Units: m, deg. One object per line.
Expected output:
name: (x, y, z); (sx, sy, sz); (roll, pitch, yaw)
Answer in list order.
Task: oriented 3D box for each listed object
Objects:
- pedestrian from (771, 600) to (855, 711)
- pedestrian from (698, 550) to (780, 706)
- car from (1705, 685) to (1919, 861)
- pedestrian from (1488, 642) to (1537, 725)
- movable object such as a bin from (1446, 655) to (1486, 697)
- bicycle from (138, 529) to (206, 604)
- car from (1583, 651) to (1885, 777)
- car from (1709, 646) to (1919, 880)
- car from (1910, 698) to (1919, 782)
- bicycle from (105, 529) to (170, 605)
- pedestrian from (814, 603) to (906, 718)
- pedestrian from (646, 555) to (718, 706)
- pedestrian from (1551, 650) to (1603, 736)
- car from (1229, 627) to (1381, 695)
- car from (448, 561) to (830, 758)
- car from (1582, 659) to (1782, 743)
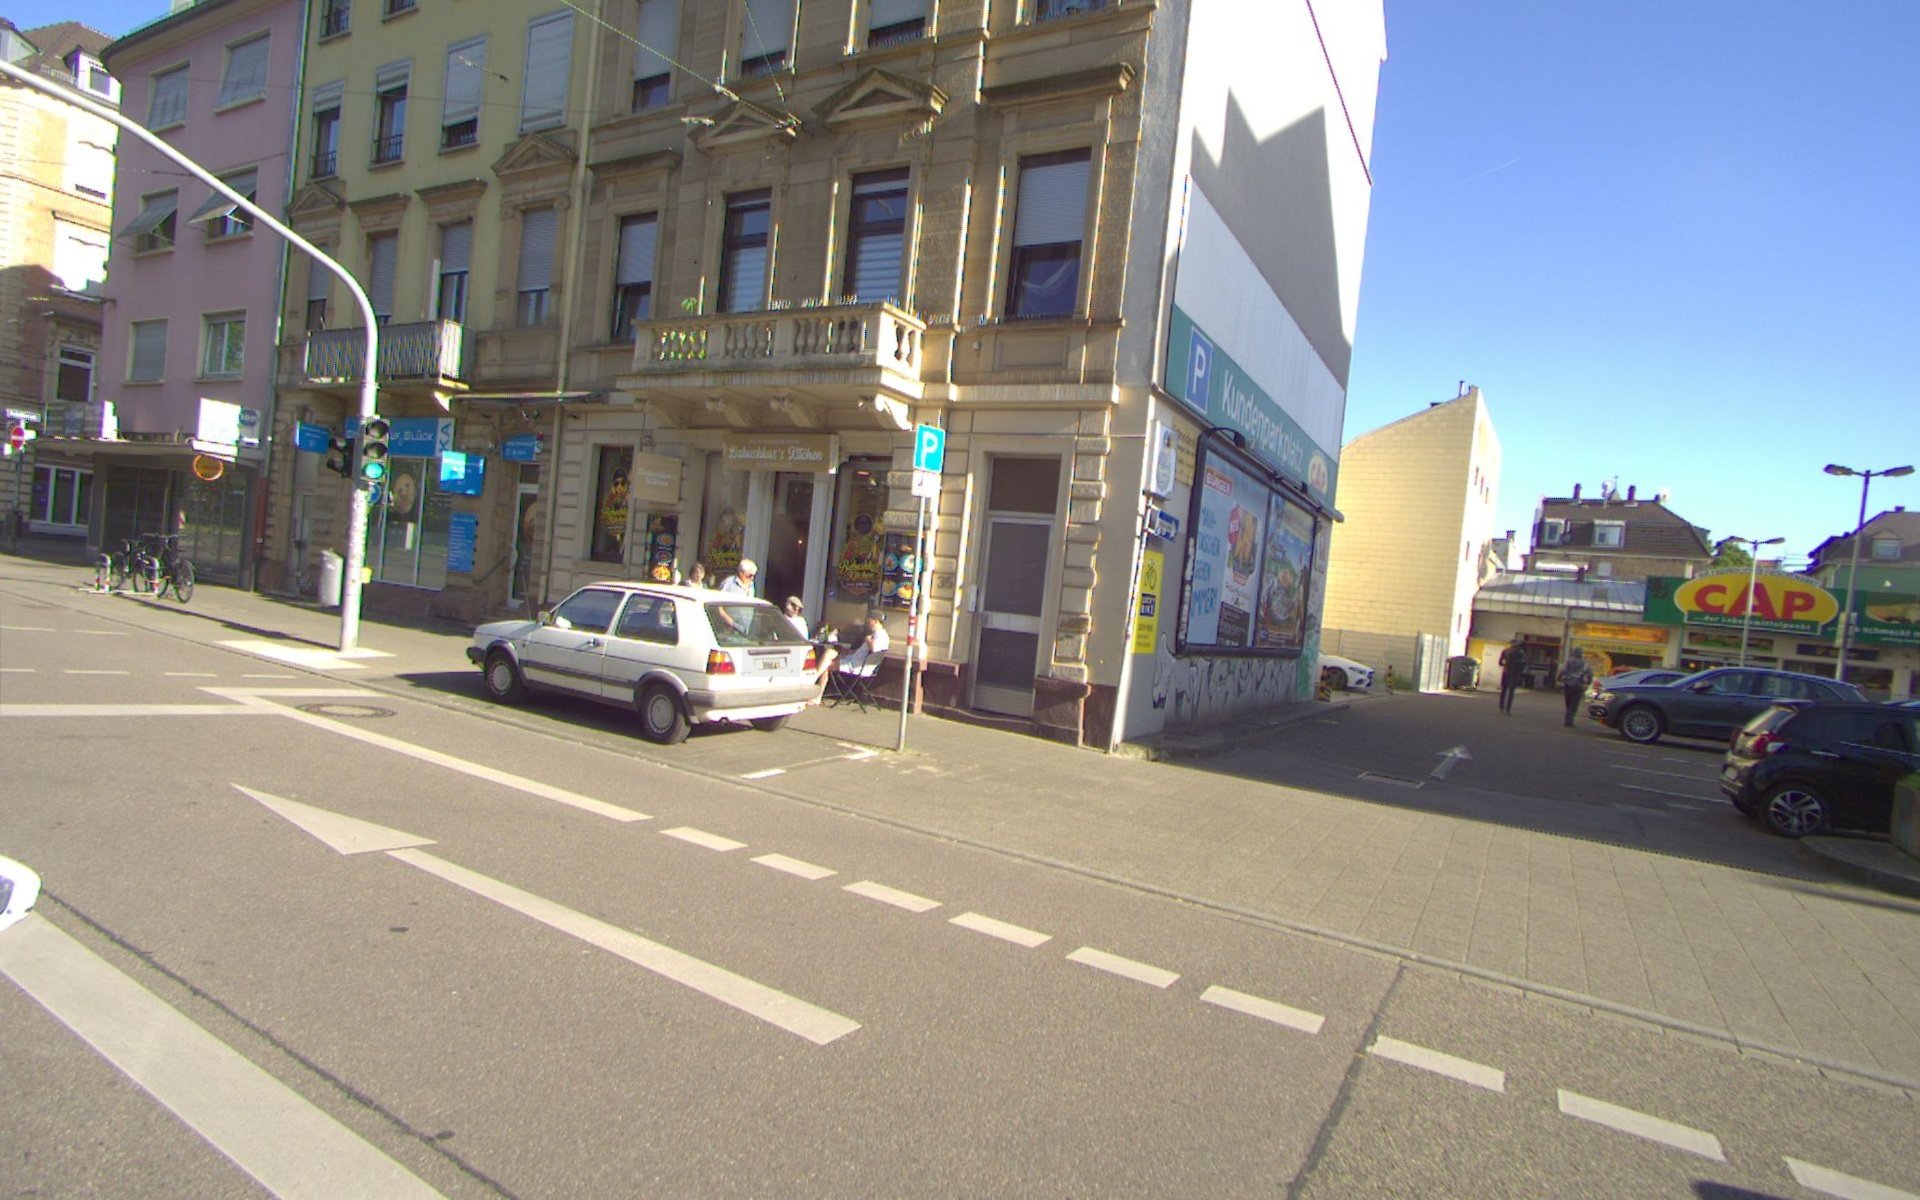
pedestrian: (-1.843, 0.682, 12.661); (0.598, 1.299, 0.798); (6, 3, 29)
pedestrian: (-2.713, 0.339, 12.344); (0.522, 1.830, 0.673); (7, 3, 31)
car: (10.014, 1.870, 10.430); (3.336, 1.504, 1.561); (7, 0, 28)
pedestrian: (13.288, 2.004, 24.184); (0.751, 1.864, 0.745); (7, 1, 37)
movable object such as a bin: (20.954, 3.137, 41.661); (1.258, 1.527, 1.174); (7, 1, 31)
bicycle: (-14.008, -0.608, 17.867); (1.731, 1.173, 0.448); (7, 1, 38)
car: (14.702, 2.102, 19.476); (4.309, 1.687, 1.756); (6, 0, 31)
car: (8.733, 1.481, 8.185); (3.835, 1.667, 1.651); (8, 3, 28)
car: (18.889, 2.670, 16.901); (3.872, 1.564, 1.543); (6, 1, 31)
bicycle: (-14.277, -0.583, 17.443); (1.782, 1.155, 0.414); (7, 0, 38)
pedestrian: (-1.222, 0.730, 12.440); (0.644, 1.298, 0.902); (7, 2, 26)
pedestrian: (-3.301, 0.369, 11.960); (0.382, 1.730, 0.550); (7, 1, 34)
pedestrian: (13.464, 2.022, 21.970); (0.751, 1.778, 0.511); (7, 1, 37)
car: (10.343, 1.803, 30.218); (3.934, 1.482, 1.756); (6, 0, 31)
car: (-3.427, 0.491, 10.494); (3.937, 1.435, 1.562); (7, 4, 32)
car: (18.524, 2.546, 26.059); (3.933, 1.538, 1.723); (7, 1, 31)
